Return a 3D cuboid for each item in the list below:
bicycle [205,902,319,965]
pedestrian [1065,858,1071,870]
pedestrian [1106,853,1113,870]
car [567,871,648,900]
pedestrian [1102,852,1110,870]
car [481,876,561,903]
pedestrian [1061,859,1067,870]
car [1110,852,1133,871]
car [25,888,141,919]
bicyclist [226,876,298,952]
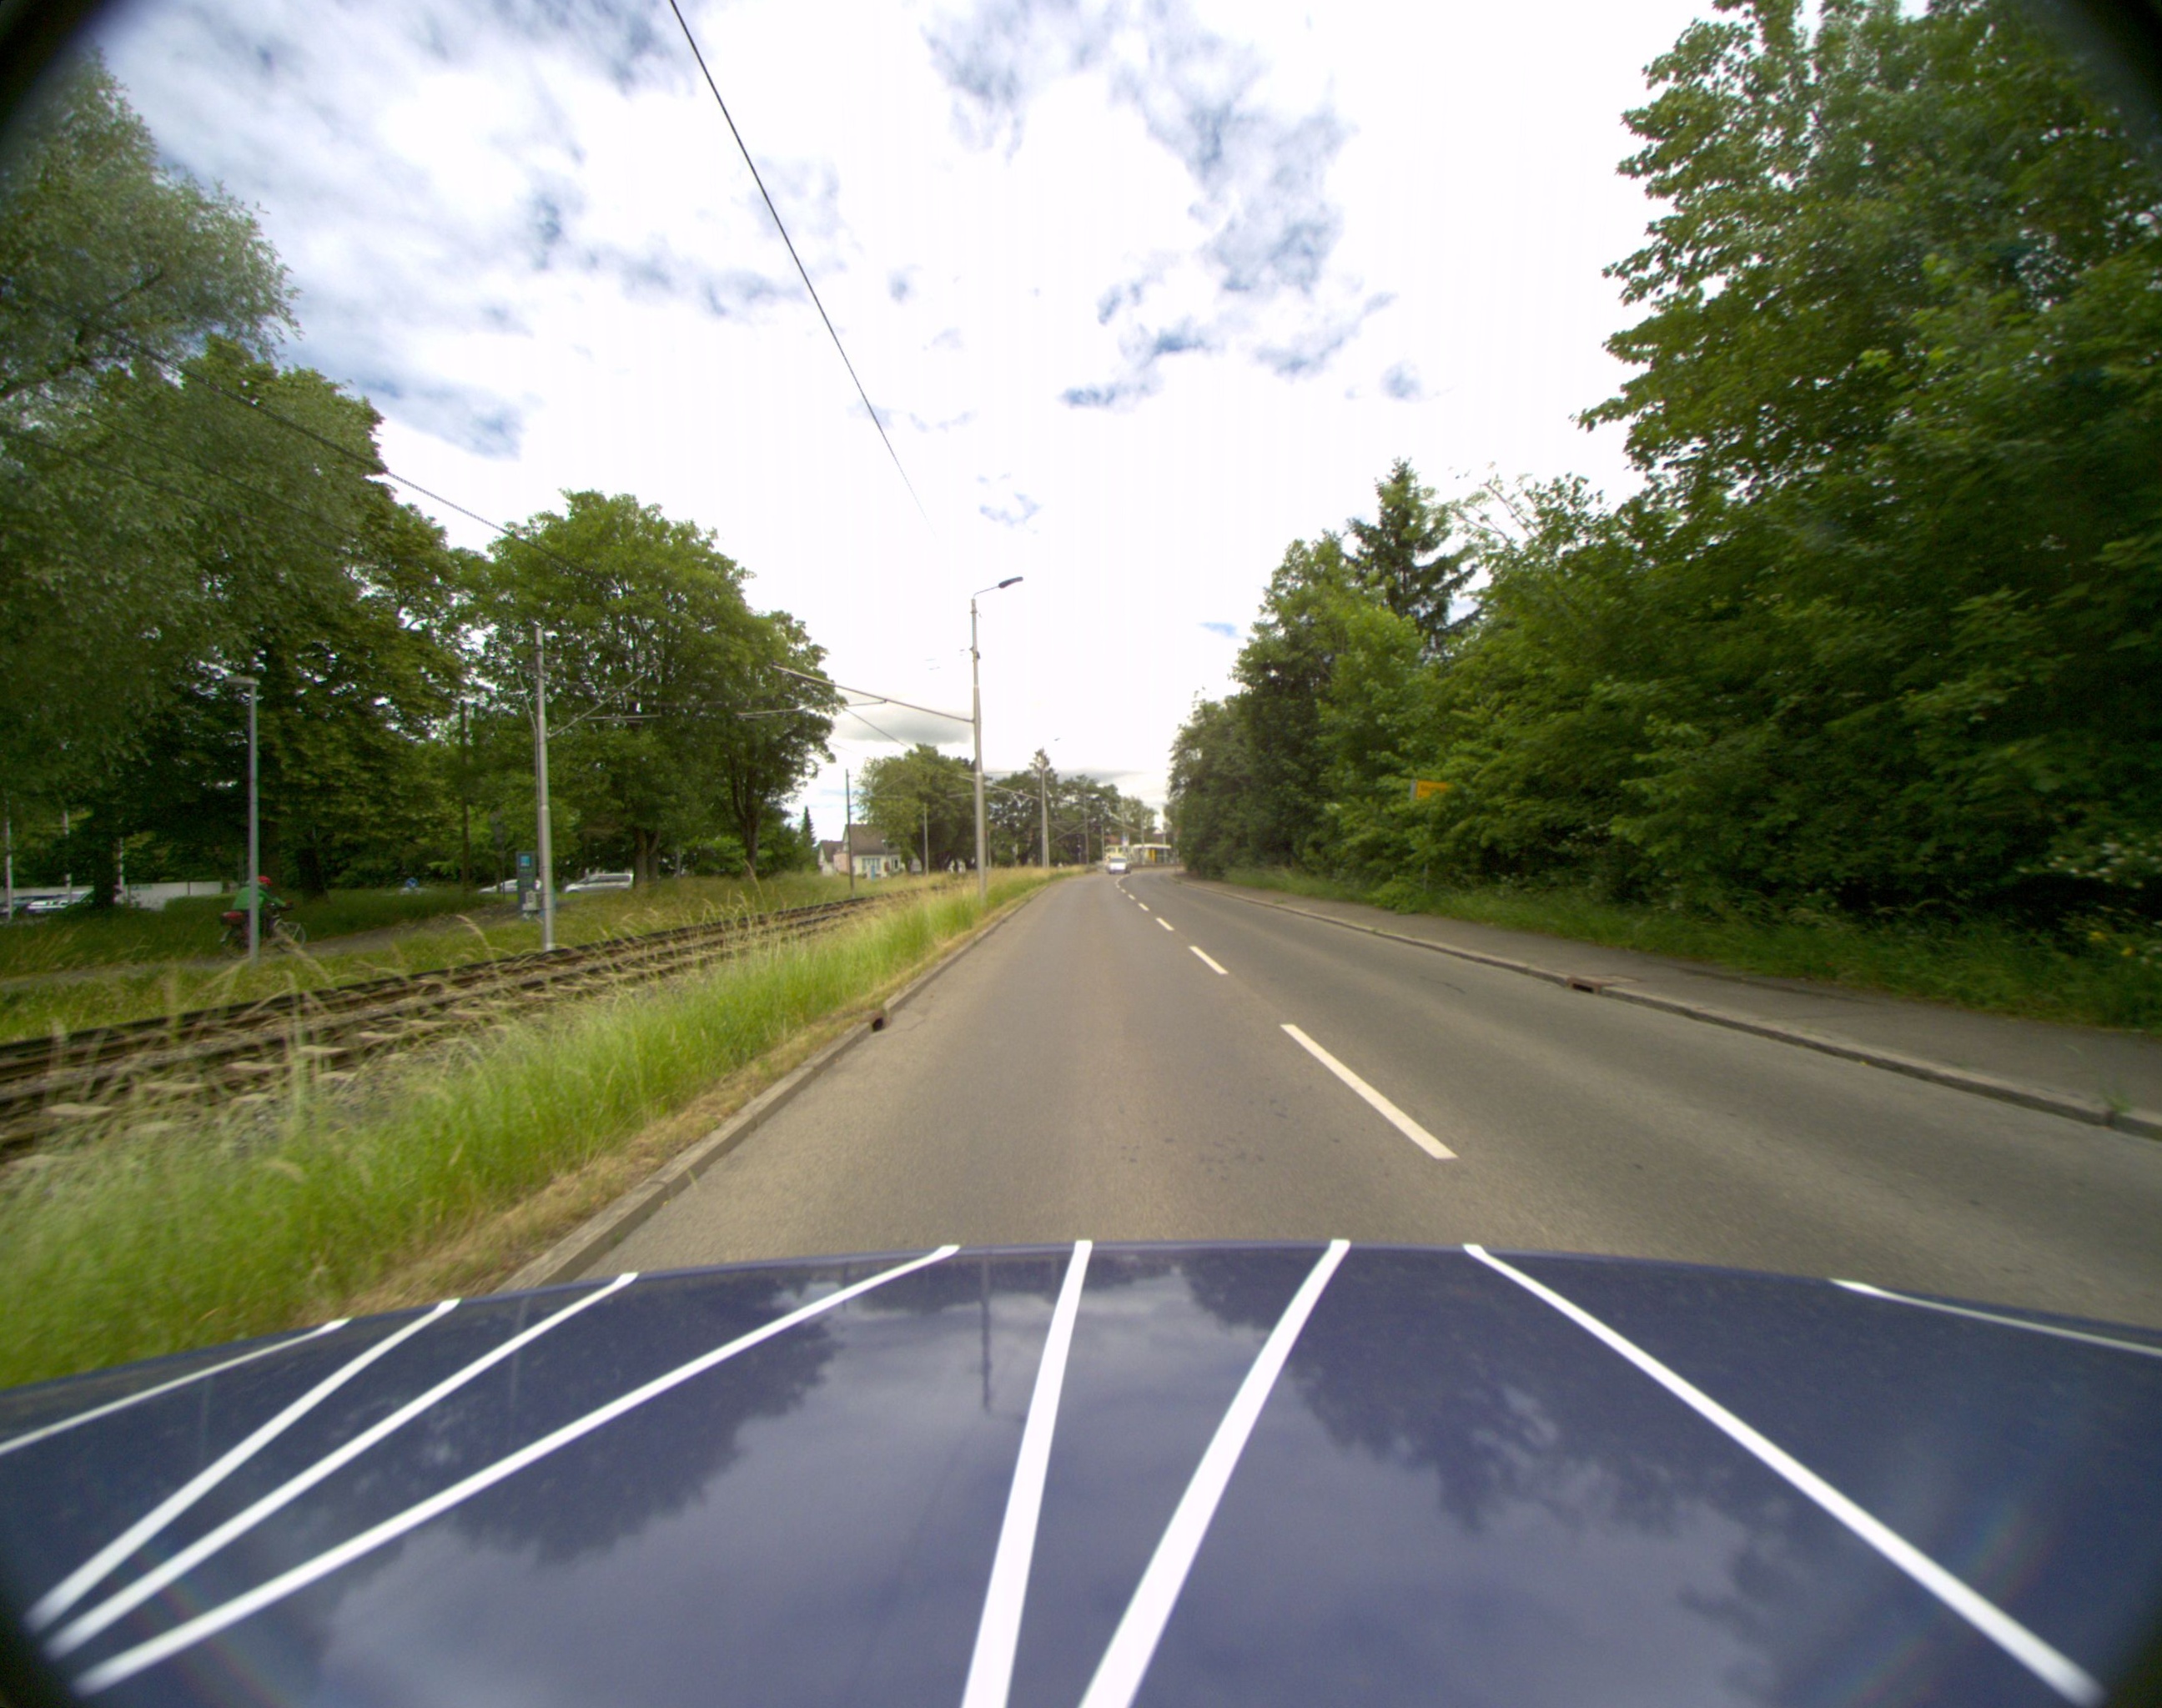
[{"bbox_3d":[-19.062,1.820,17.759,0.582,1.239,1.929,-2,0,-3],"label":"bicycle"},{"bbox_3d":[-1.782,1.346,104.211,0.493,1.612,0.791,-3,0,16],"label":"pedestrian"},{"bbox_3d":[3.042,0.776,80.642,0.475,1.719,0.799,-4,2,-11],"label":"pedestrian"},{"bbox_3d":[-34.759,2.291,55.932,4.719,1.850,1.914,-2,0,-23],"label":"car"},{"bbox_3d":[2.619,0.733,79.455,0.660,1.830,0.596,-3,2,-10],"label":"pedestrian"},{"bbox_3d":[-39.749,2.523,54.065,4.201,1.668,1.768,-2,0,-23],"label":"car"},{"bbox_3d":[-2.325,1.411,104.345,0.493,1.552,0.693,-3,0,16],"label":"pedestrian"},{"bbox_3d":[3.794,0.744,70.706,1.733,1.638,4.229,-3,-1,7],"label":"car"},{"bbox_3d":[-61.271,2.986,46.776,1.980,1.572,4.458,-2,0,-16],"label":"car"},{"bbox_3d":[-19.081,1.383,17.726,0.582,1.686,0.935,-2,1,-3],"label":"bicyclist"}]
